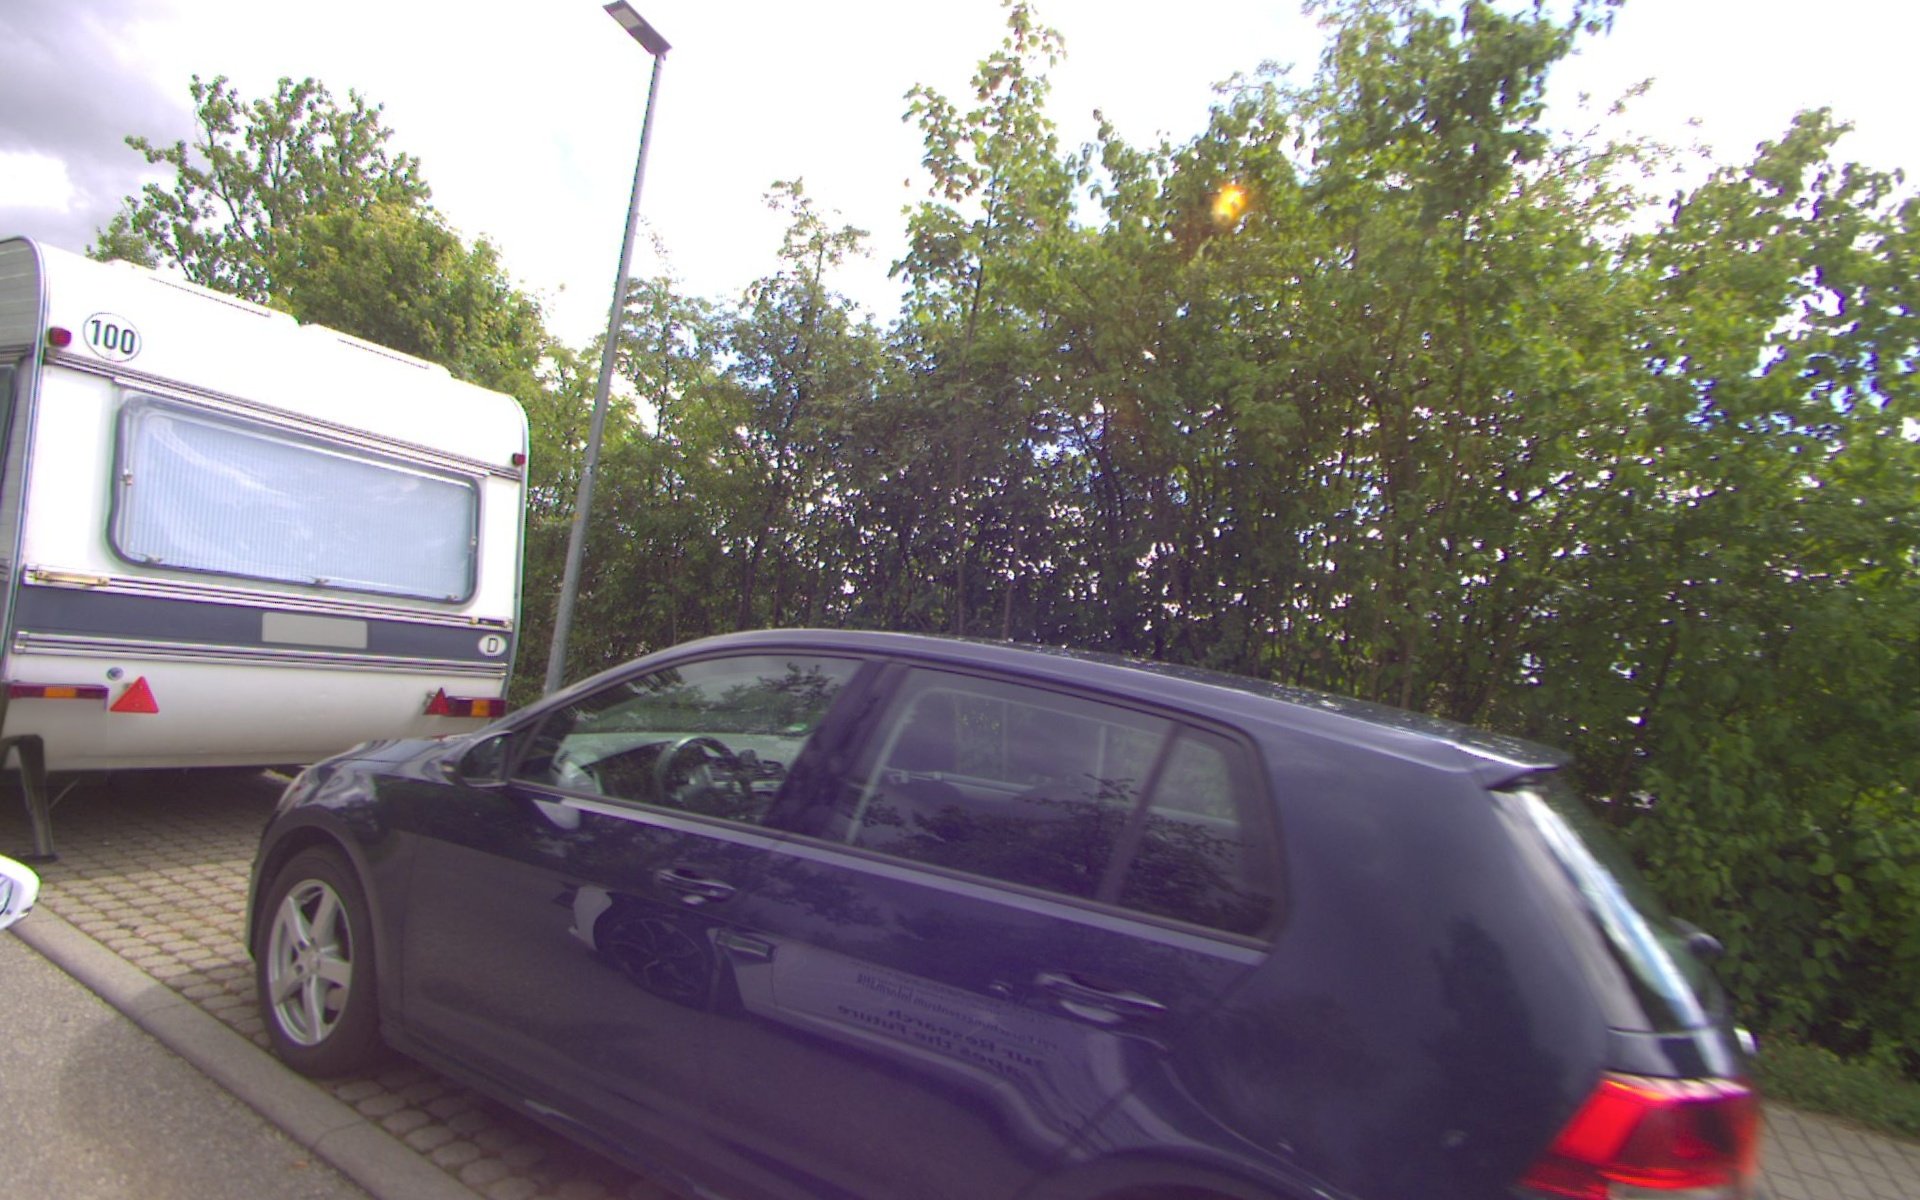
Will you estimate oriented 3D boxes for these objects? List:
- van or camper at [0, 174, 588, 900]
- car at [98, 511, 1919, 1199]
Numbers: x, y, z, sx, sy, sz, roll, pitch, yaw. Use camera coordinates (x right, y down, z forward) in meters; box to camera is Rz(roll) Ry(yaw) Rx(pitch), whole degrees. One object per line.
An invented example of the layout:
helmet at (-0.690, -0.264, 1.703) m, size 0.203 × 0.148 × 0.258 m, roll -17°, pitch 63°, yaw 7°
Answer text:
van or camper at (-4.949, -0.343, 5.789) m, size 4.988 × 2.583 × 2.360 m, roll 7°, pitch -2°, yaw 30°
car at (-0.352, 0.758, 2.874) m, size 4.404 × 1.467 × 1.687 m, roll 7°, pitch -3°, yaw 30°
